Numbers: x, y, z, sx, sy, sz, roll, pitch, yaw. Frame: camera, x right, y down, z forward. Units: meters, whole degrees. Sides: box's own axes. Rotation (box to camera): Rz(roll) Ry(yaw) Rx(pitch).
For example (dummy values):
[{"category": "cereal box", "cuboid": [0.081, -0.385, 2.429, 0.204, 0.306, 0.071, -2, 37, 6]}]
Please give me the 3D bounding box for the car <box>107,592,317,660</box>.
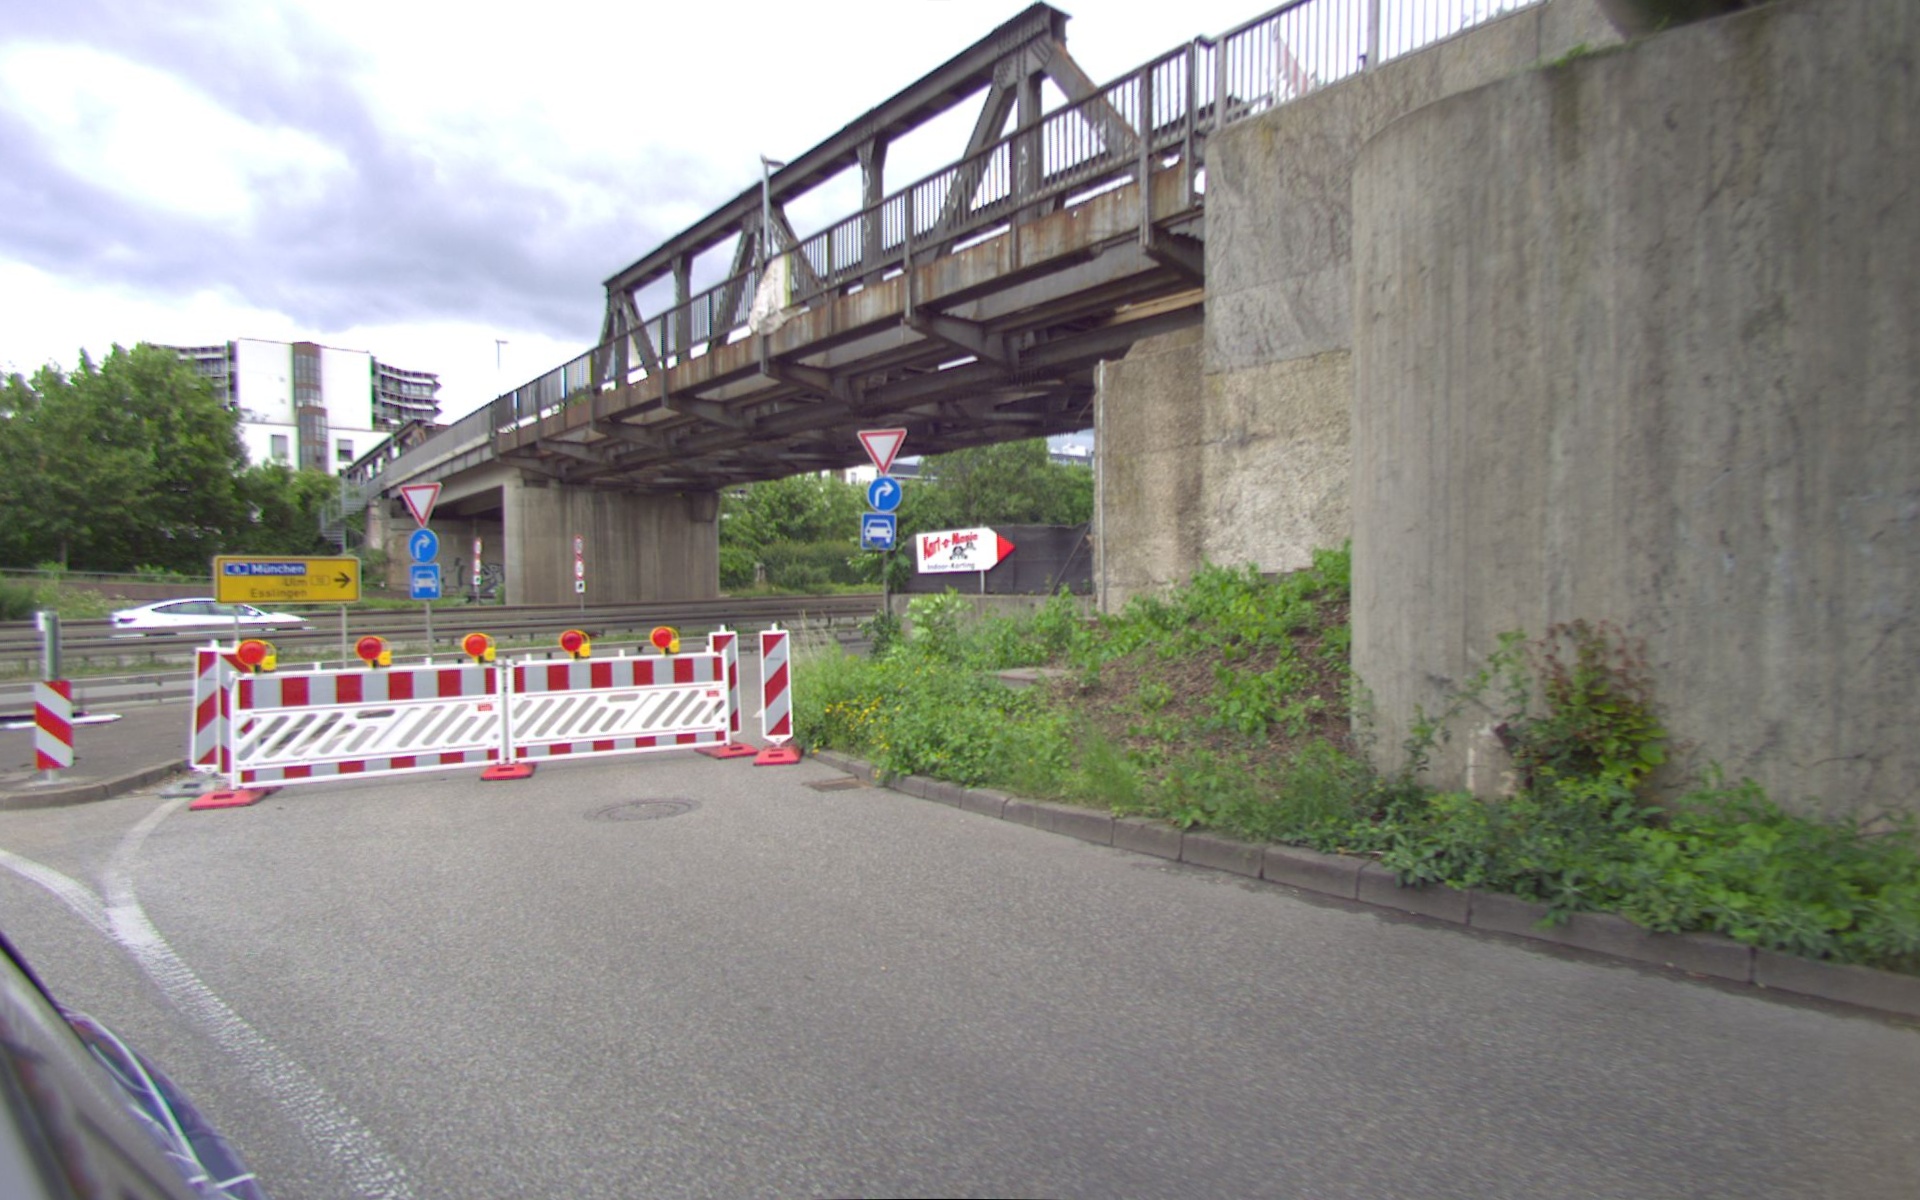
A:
[{"category": "car", "cuboid": [-20.528, 0.638, 27.889, 2.001, 1.553, 4.395, 5, 5, 44]}]
